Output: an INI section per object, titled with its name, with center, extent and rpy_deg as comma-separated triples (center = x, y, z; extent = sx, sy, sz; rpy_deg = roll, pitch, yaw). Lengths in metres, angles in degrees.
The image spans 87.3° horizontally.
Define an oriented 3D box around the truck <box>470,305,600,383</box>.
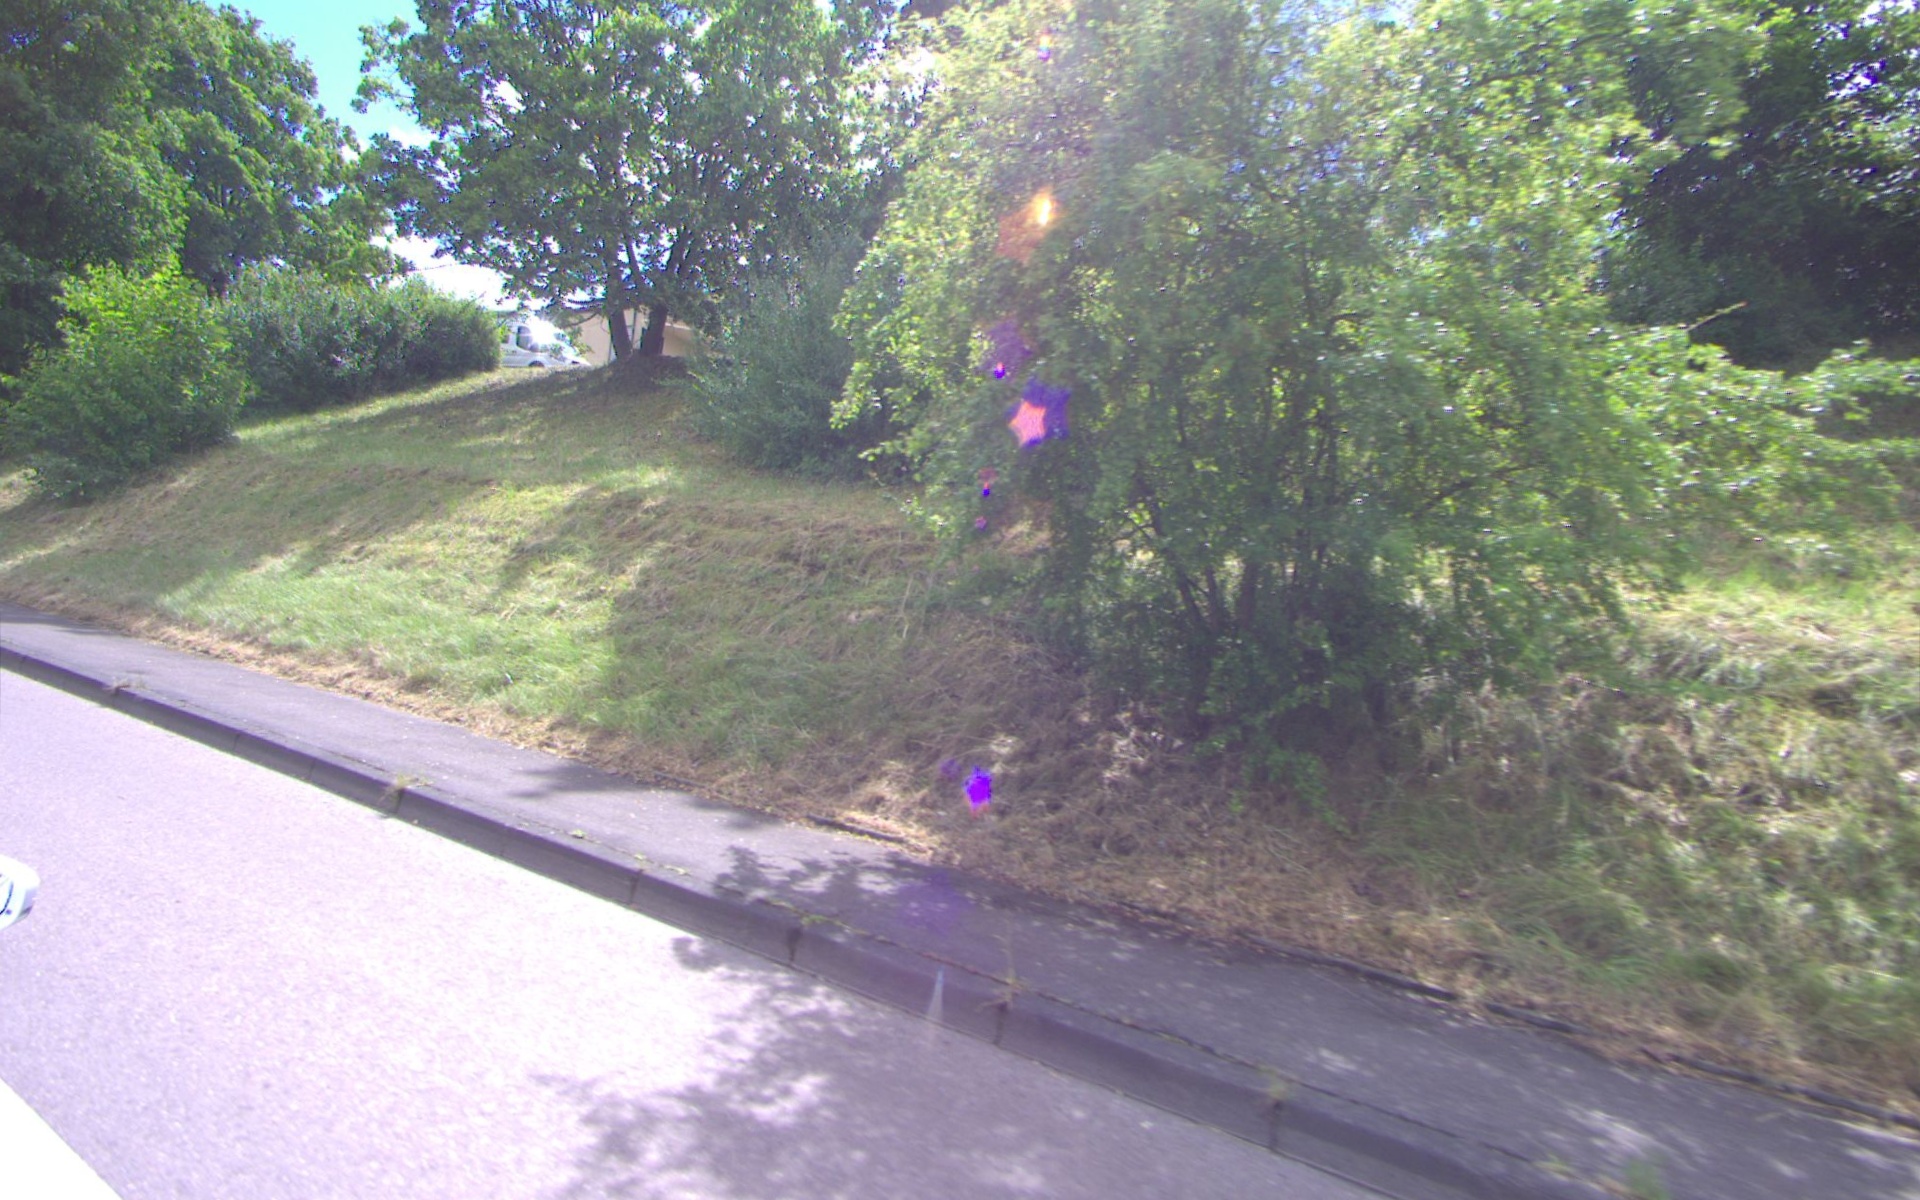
[truck]
center = -13.441, -8.023, 31.756
extent = 3.897, 1.963, 1.388
rpy_deg = 6, -1, 26
